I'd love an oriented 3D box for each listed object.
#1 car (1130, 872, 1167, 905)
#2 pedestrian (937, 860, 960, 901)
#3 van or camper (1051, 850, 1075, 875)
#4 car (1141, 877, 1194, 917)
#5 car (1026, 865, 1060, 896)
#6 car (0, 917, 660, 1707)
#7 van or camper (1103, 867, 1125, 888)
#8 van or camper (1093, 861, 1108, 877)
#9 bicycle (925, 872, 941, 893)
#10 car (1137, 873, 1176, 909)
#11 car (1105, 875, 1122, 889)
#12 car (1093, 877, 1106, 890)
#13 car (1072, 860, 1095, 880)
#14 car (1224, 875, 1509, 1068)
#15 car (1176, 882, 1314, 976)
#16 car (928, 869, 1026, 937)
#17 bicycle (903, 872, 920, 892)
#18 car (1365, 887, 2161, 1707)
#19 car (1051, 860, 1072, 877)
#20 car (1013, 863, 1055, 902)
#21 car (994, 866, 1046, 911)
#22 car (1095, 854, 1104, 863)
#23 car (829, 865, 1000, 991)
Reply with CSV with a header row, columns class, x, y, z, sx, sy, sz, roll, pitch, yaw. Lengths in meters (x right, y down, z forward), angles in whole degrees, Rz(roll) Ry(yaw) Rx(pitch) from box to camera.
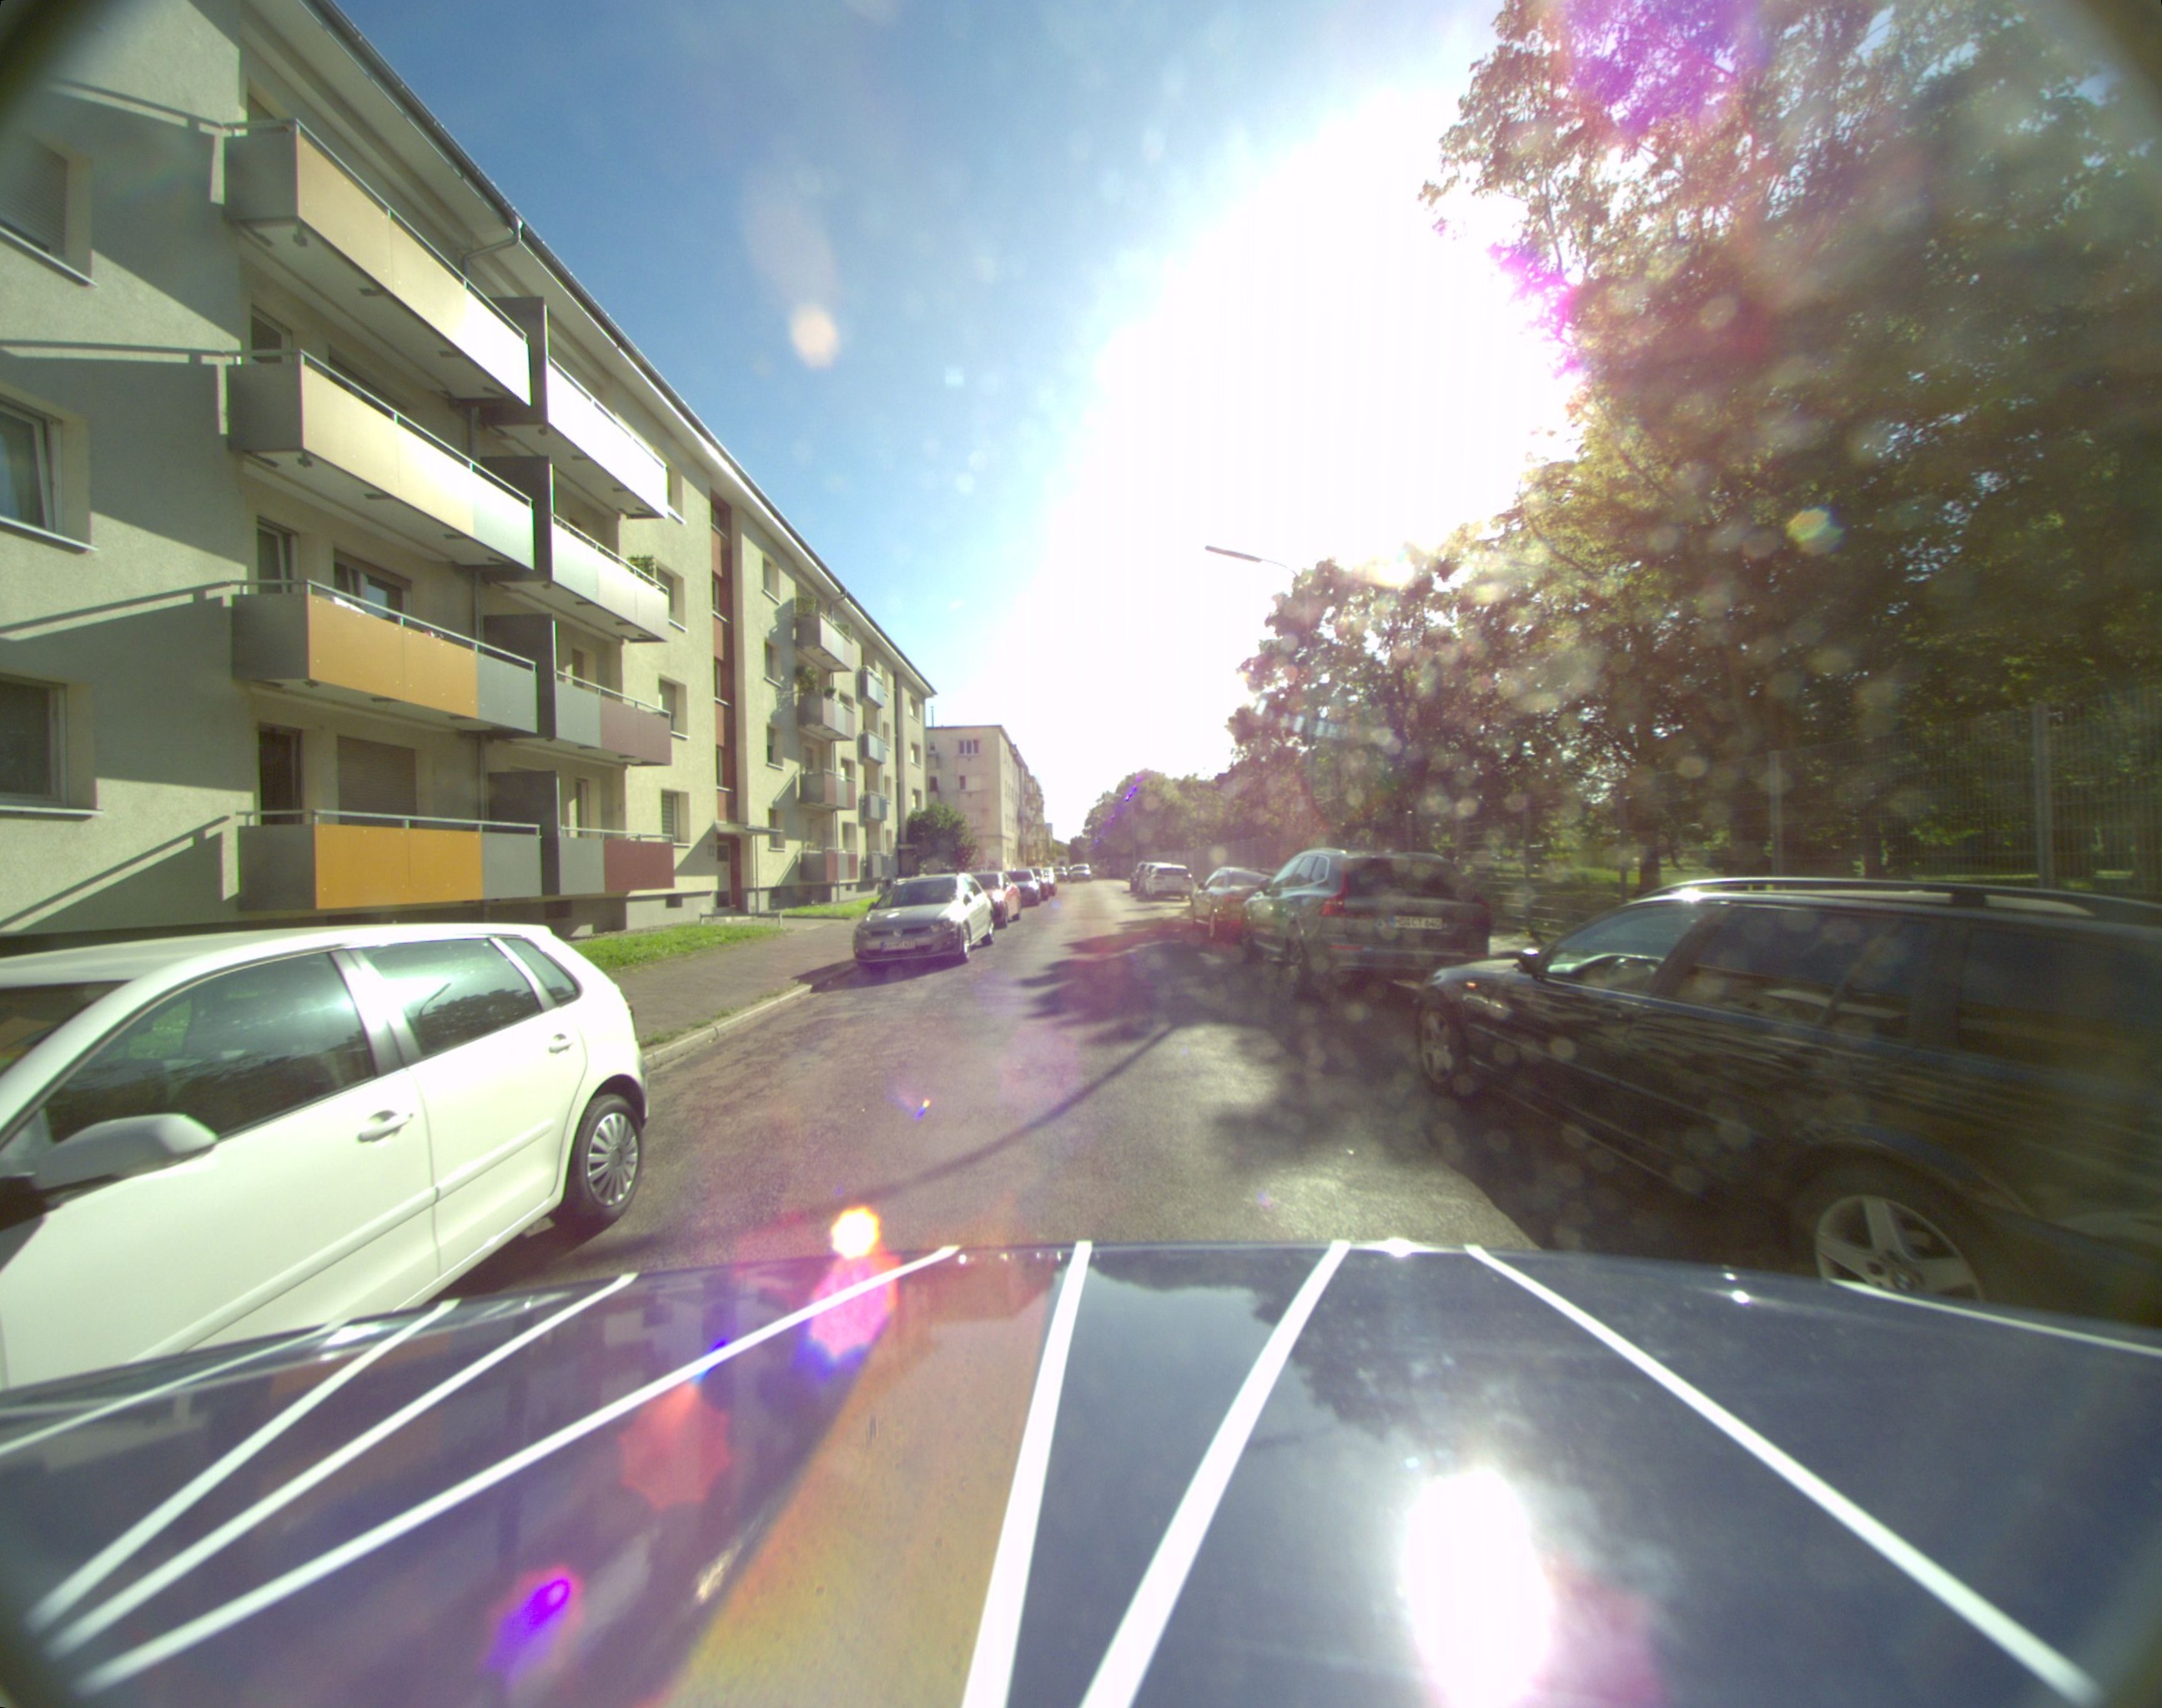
class,x,y,z,sx,sy,sz,roll,pitch,yaw
car,3.804,1.925,43.243,1.716,1.654,4.164,0,0,-1
pedestrian,-5.844,1.171,33.518,0.646,1.761,0.841,-3,0,8
van or camper,-2.363,1.120,101.464,2.958,3.161,6.173,-2,-1,0
car,3.636,1.772,32.418,1.798,1.436,4.120,-1,0,0
car,-2.009,1.391,40.913,1.609,1.475,3.797,-3,0,-1
car,-2.946,1.101,1.866,1.690,1.454,3.819,-5,0,-2
van or camper,4.046,2.877,93.232,2.212,2.267,5.309,-4,0,-1
van or camper,3.229,2.435,124.533,2.126,2.484,3.999,-3,0,-1
bicycle,-7.661,1.471,39.379,0.486,1.006,2.283,-2,0,-3
car,3.751,1.822,38.119,1.568,1.633,3.615,1,0,-1
car,3.710,3.182,87.326,1.652,1.408,3.999,-4,0,-1
car,2.741,4.324,112.488,1.652,1.674,3.999,-3,0,-1
car,0.190,1.471,71.087,1.862,1.543,3.999,-5,1,-1
car,3.151,1.177,9.651,1.883,1.654,4.932,1,0,2
car,3.155,1.394,15.553,1.798,1.462,4.502,-1,0,-1
car,-2.634,1.219,20.380,1.756,1.435,4.523,-3,0,2
bicycle,-8.790,1.435,39.468,0.486,0.955,2.283,-2,0,-3
car,2.938,1.090,3.208,1.796,1.553,4.459,4,0,1
car,-2.024,1.488,78.885,2.070,1.544,3.999,-4,0,-1
car,-2.145,1.290,35.856,1.757,1.550,4.254,-4,0,-2
car,-2.339,1.291,29.951,1.757,1.472,4.079,-4,0,-2
car,4.204,1.036,174.764,1.999,2.002,4.000,-3,0,0
car,-2.664,1.102,13.357,1.903,1.612,4.602,-5,0,-1
